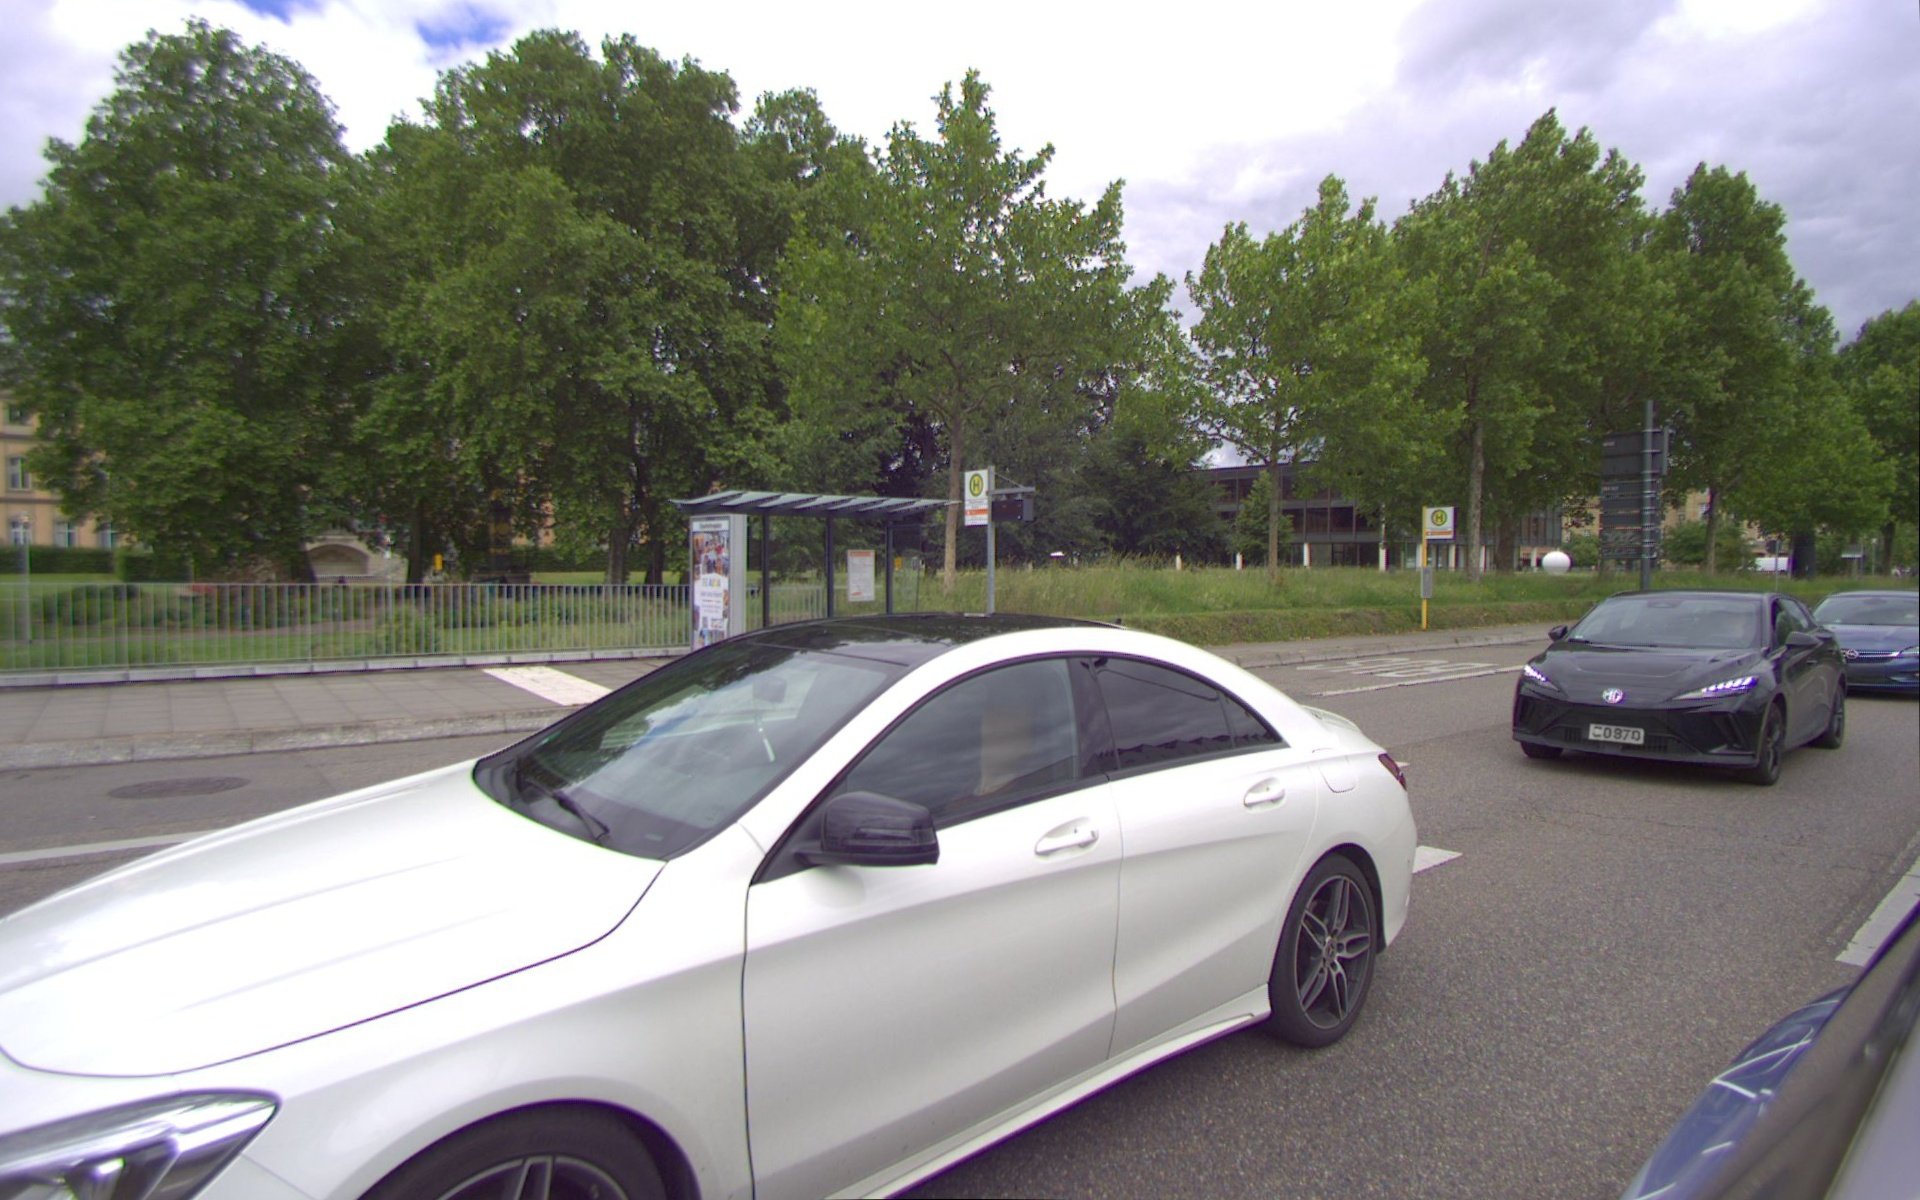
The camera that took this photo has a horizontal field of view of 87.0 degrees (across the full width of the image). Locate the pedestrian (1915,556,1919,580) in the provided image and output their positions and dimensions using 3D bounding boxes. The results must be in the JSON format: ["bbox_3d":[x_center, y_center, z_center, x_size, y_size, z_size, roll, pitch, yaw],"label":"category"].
[{"bbox_3d":[81.883,-2.743,86.038,1.160,2.039,0.891,-2,0,-40],"label":"pedestrian"}]

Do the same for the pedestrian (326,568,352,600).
[{"bbox_3d":[-41.083,-1.072,66.929,1.091,2.039,0.937,-1,0,20],"label":"pedestrian"}]

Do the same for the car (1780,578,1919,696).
[{"bbox_3d":[13.274,0.437,14.363,3.944,1.452,1.804,-1,2,-40],"label":"car"}]

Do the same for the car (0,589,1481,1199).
[{"bbox_3d":[-0.267,0.724,3.207,4.446,1.437,1.799,-1,2,-39],"label":"car"}]

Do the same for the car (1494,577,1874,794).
[{"bbox_3d":[6.649,0.556,9.144,4.020,1.508,1.852,-1,2,-40],"label":"car"}]

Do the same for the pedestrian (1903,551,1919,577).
[{"bbox_3d":[75.059,-2.827,79.779,1.160,2.039,0.891,-2,0,-40],"label":"pedestrian"}]
